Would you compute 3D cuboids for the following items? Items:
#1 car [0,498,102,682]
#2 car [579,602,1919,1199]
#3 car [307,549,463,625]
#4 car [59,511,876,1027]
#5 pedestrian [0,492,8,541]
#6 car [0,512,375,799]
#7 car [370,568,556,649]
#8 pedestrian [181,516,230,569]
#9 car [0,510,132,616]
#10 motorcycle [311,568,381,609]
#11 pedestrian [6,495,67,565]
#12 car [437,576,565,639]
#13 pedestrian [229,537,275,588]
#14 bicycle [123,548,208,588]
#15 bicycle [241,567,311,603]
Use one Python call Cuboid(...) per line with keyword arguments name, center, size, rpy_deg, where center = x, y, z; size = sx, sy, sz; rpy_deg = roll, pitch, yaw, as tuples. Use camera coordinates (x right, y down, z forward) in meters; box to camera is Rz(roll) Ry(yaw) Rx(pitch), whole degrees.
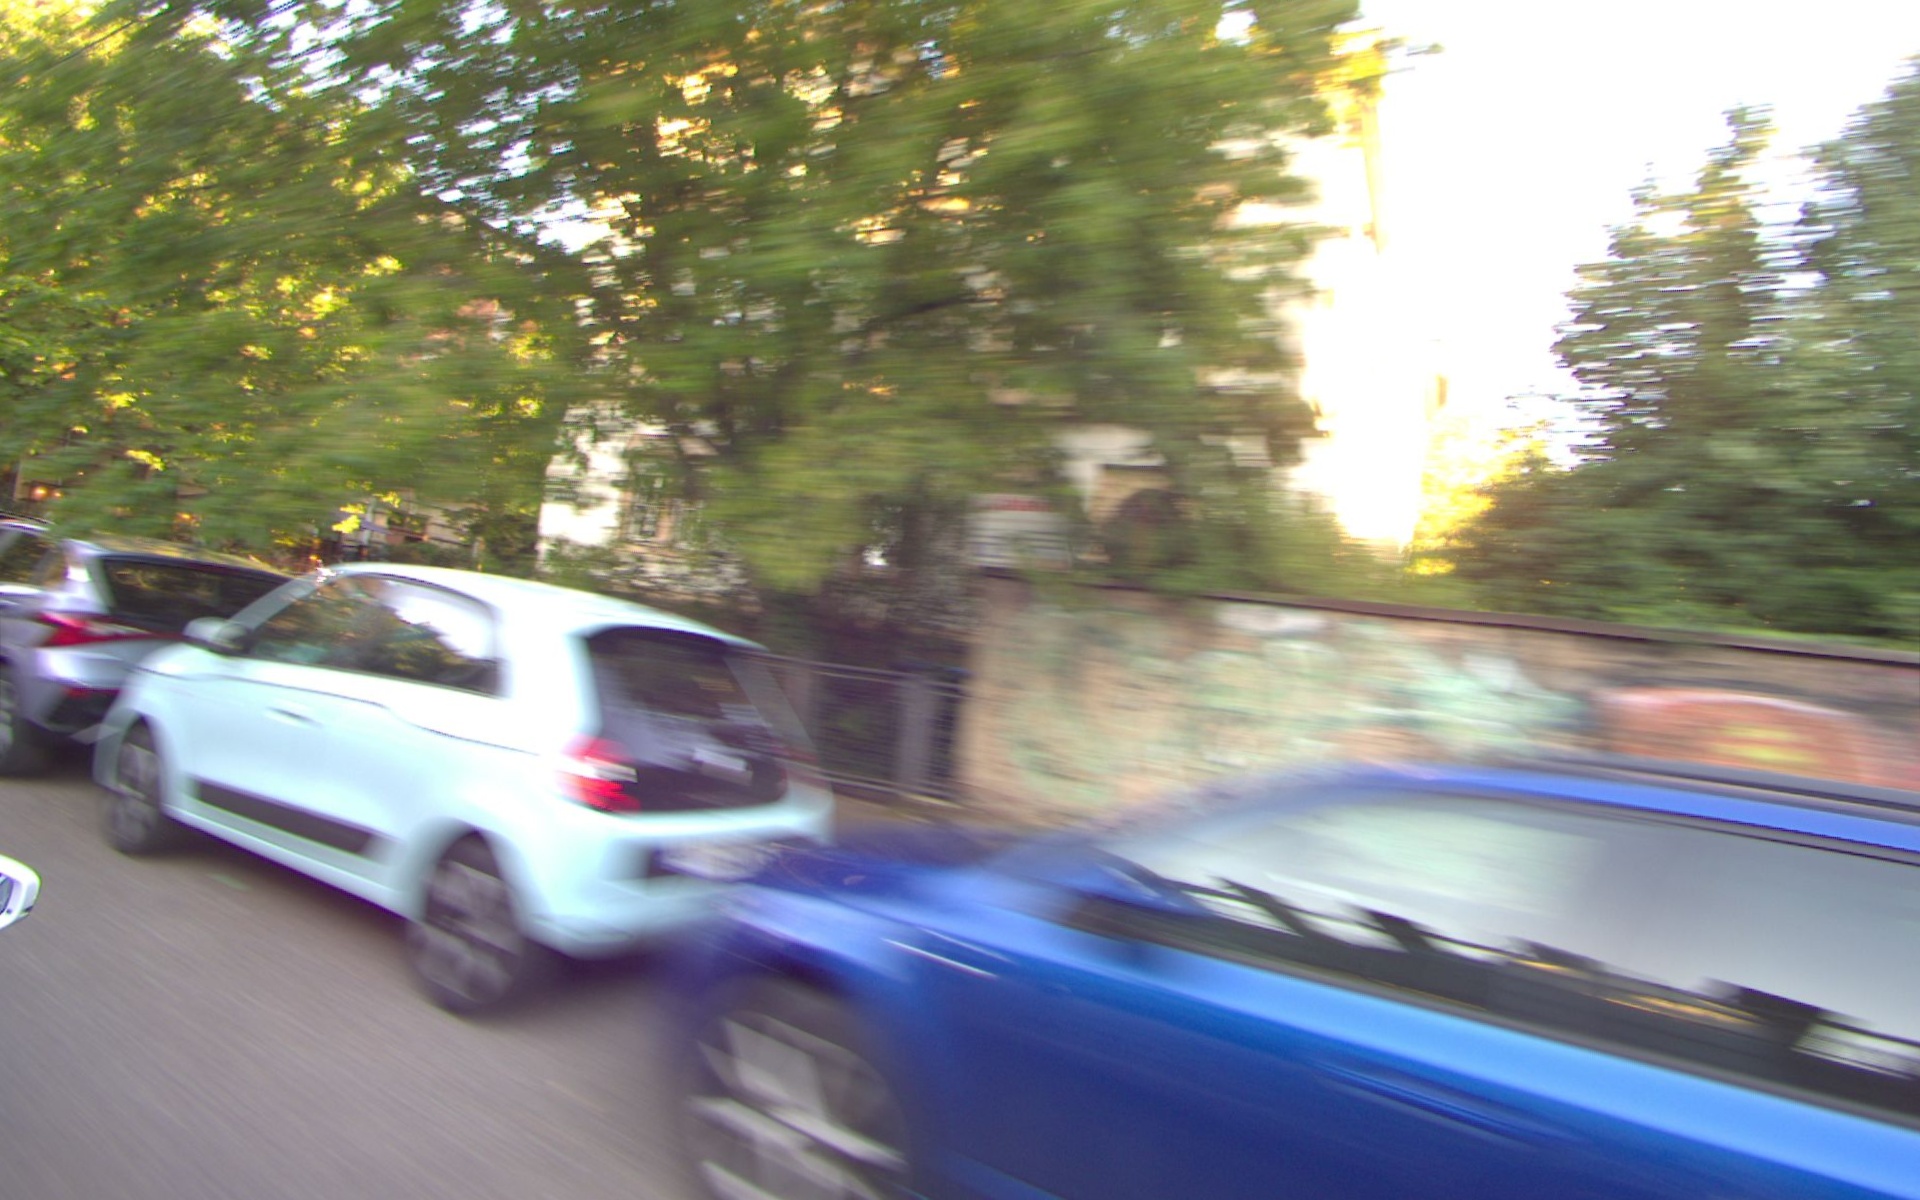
Cuboid(name="car", center=(-10.276, -0.310, 9.740), size=(3.905, 1.588, 1.699), rpy_deg=(6, -3, 31))
Cuboid(name="car", center=(1.216, 1.038, 2.373), size=(4.049, 1.493, 1.699), rpy_deg=(6, -3, 32))
Cuboid(name="car", center=(-17.702, -0.352, 31.133), size=(1.598, 1.623, 3.772), rpy_deg=(9, -3, 25))
Cuboid(name="car", center=(-2.419, 0.575, 4.887), size=(3.498, 1.493, 1.700), rpy_deg=(7, -3, 28))
Cuboid(name="pedestrian", center=(-28.563, -2.327, 29.215), size=(0.761, 1.824, 0.844), rpy_deg=(8, -2, 12))
Cuboid(name="car", center=(-6.322, 0.206, 7.084), size=(4.139, 1.493, 1.701), rpy_deg=(7, -3, 27))
Cuboid(name="car", center=(-12.862, 0.280, 26.307), size=(1.848, 1.545, 3.976), rpy_deg=(4, -5, 25))
Cuboid(name="pedestrian", center=(-23.865, -1.821, 31.830), size=(0.747, 1.498, 0.776), rpy_deg=(8, -2, 21))
Cuboid(name="car", center=(-14.894, -0.647, 15.312), size=(1.854, 1.482, 3.963), rpy_deg=(10, -3, -14))
Cuboid(name="motorcycle", center=(-20.607, -0.370, 33.785), size=(0.511, 1.093, 1.834), rpy_deg=(7, -3, 38))
Cuboid(name="pedestrian", center=(-26.451, -2.004, 28.820), size=(0.827, 1.824, 0.777), rpy_deg=(8, -2, 17))
Cuboid(name="car", center=(-15.900, 0.308, 35.065), size=(1.598, 1.570, 3.772), rpy_deg=(7, -4, 25))
Cuboid(name="pedestrian", center=(-23.289, -1.230, 33.095), size=(0.747, 1.498, 0.776), rpy_deg=(8, -2, 21))
Cuboid(name="bicycle", center=(-23.240, -0.918, 29.483), size=(0.393, 0.894, 1.977), rpy_deg=(8, -3, 19))
Cuboid(name="bicycle", center=(-21.724, -0.457, 31.983), size=(0.393, 0.894, 1.883), rpy_deg=(8, -3, 19))
